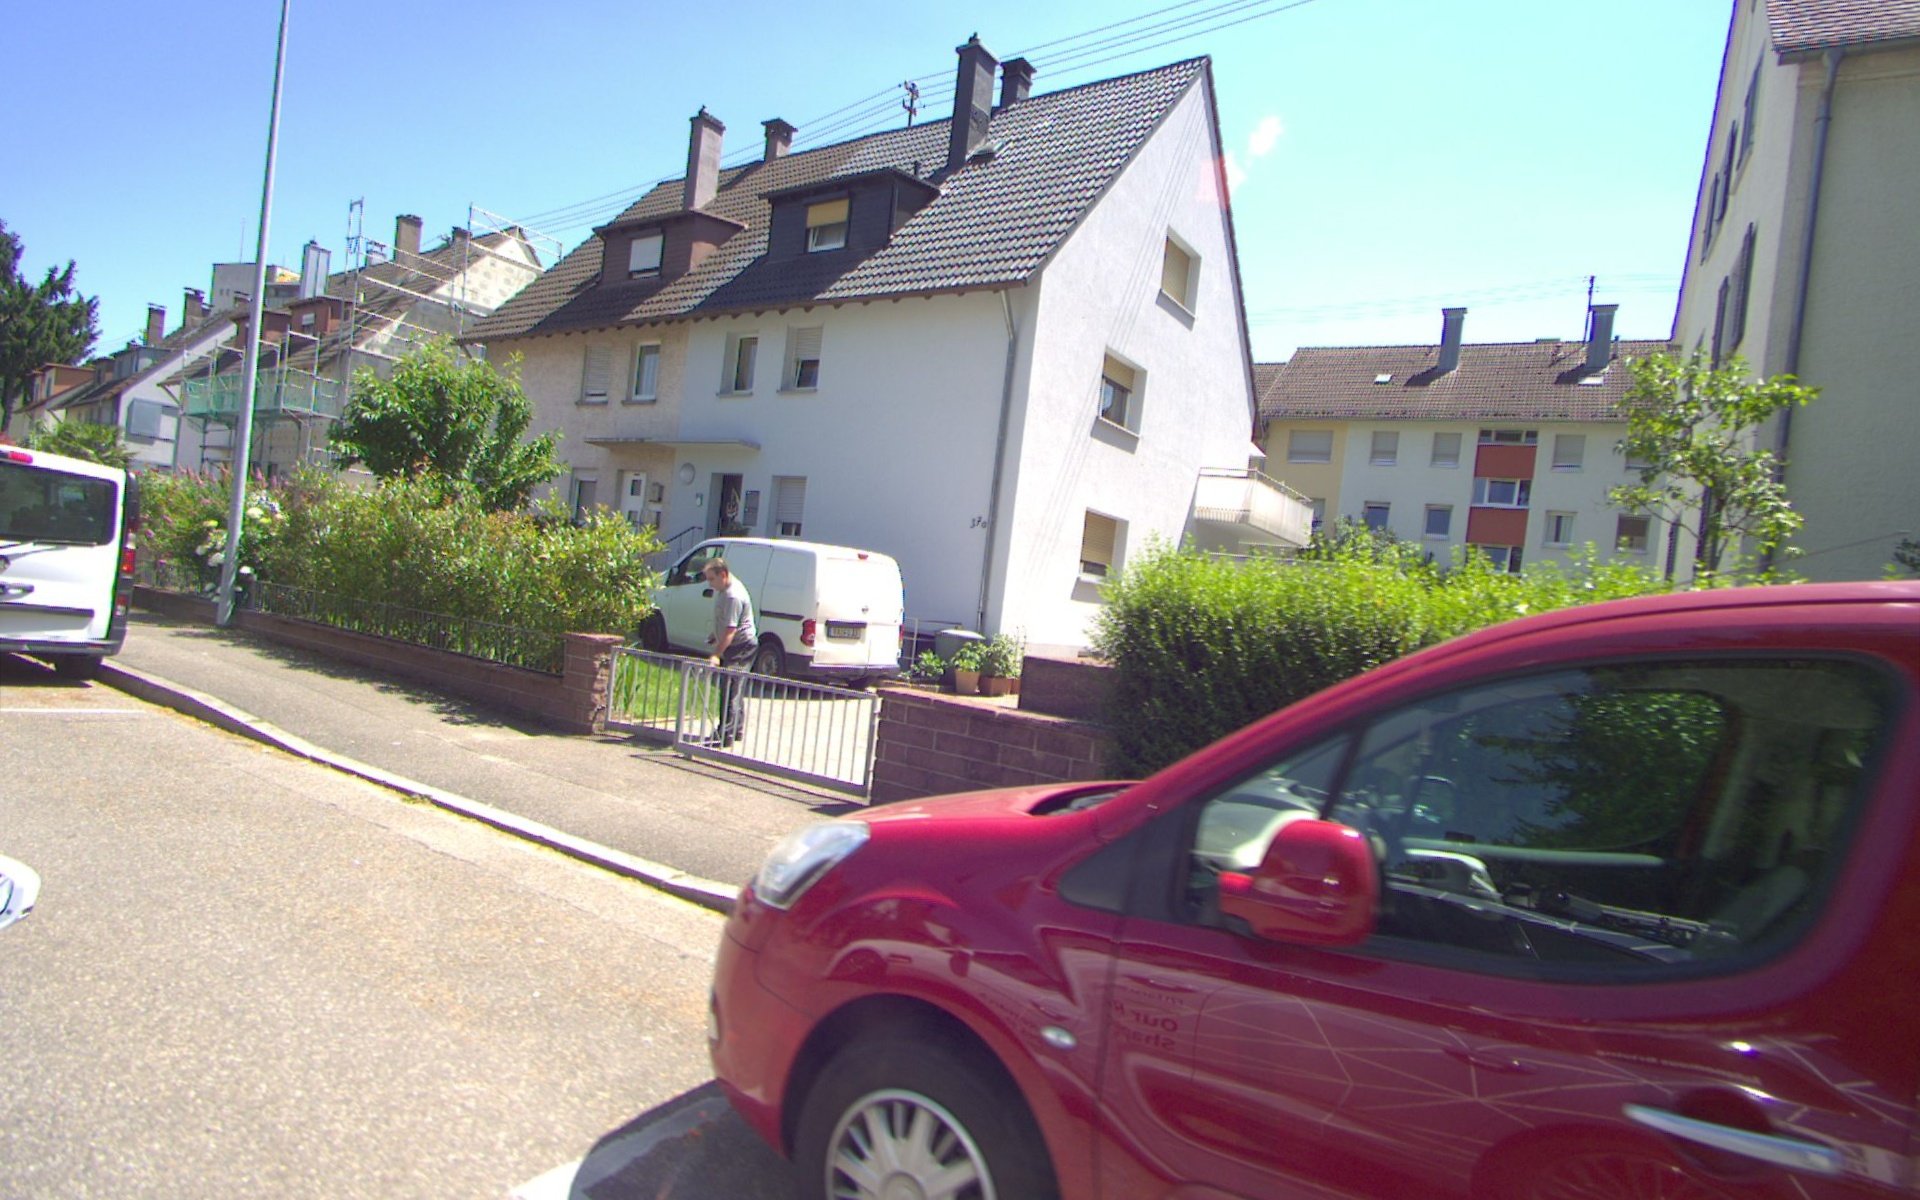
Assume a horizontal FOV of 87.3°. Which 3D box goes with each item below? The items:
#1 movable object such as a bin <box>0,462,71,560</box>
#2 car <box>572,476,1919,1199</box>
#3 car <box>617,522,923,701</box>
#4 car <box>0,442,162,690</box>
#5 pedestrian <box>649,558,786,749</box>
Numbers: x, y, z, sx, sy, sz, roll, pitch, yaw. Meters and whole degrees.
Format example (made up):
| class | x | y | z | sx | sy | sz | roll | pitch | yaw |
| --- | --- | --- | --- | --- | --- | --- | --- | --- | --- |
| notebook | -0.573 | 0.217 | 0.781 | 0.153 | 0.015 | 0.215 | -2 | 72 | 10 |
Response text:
| class | x | y | z | sx | sy | sz | roll | pitch | yaw |
| --- | --- | --- | --- | --- | --- | --- | --- | --- | --- |
| movable object such as a bin | -29.979 | -2.885 | 31.176 | 1.681 | 2.779 | 3.147 | 7 | -1 | 35 |
| car | 1.479 | 0.860 | 2.153 | 4.318 | 1.747 | 1.907 | 6 | -3 | 31 |
| car | -2.747 | 0.063 | 13.875 | 4.337 | 1.882 | 1.740 | 8 | 3 | 41 |
| car | -9.525 | -0.480 | 9.230 | 4.641 | 1.948 | 1.905 | 7 | -1 | 33 |
| pedestrian | -2.122 | 0.453 | 8.832 | 0.697 | 1.537 | 0.788 | 7 | 2 | 33 |
